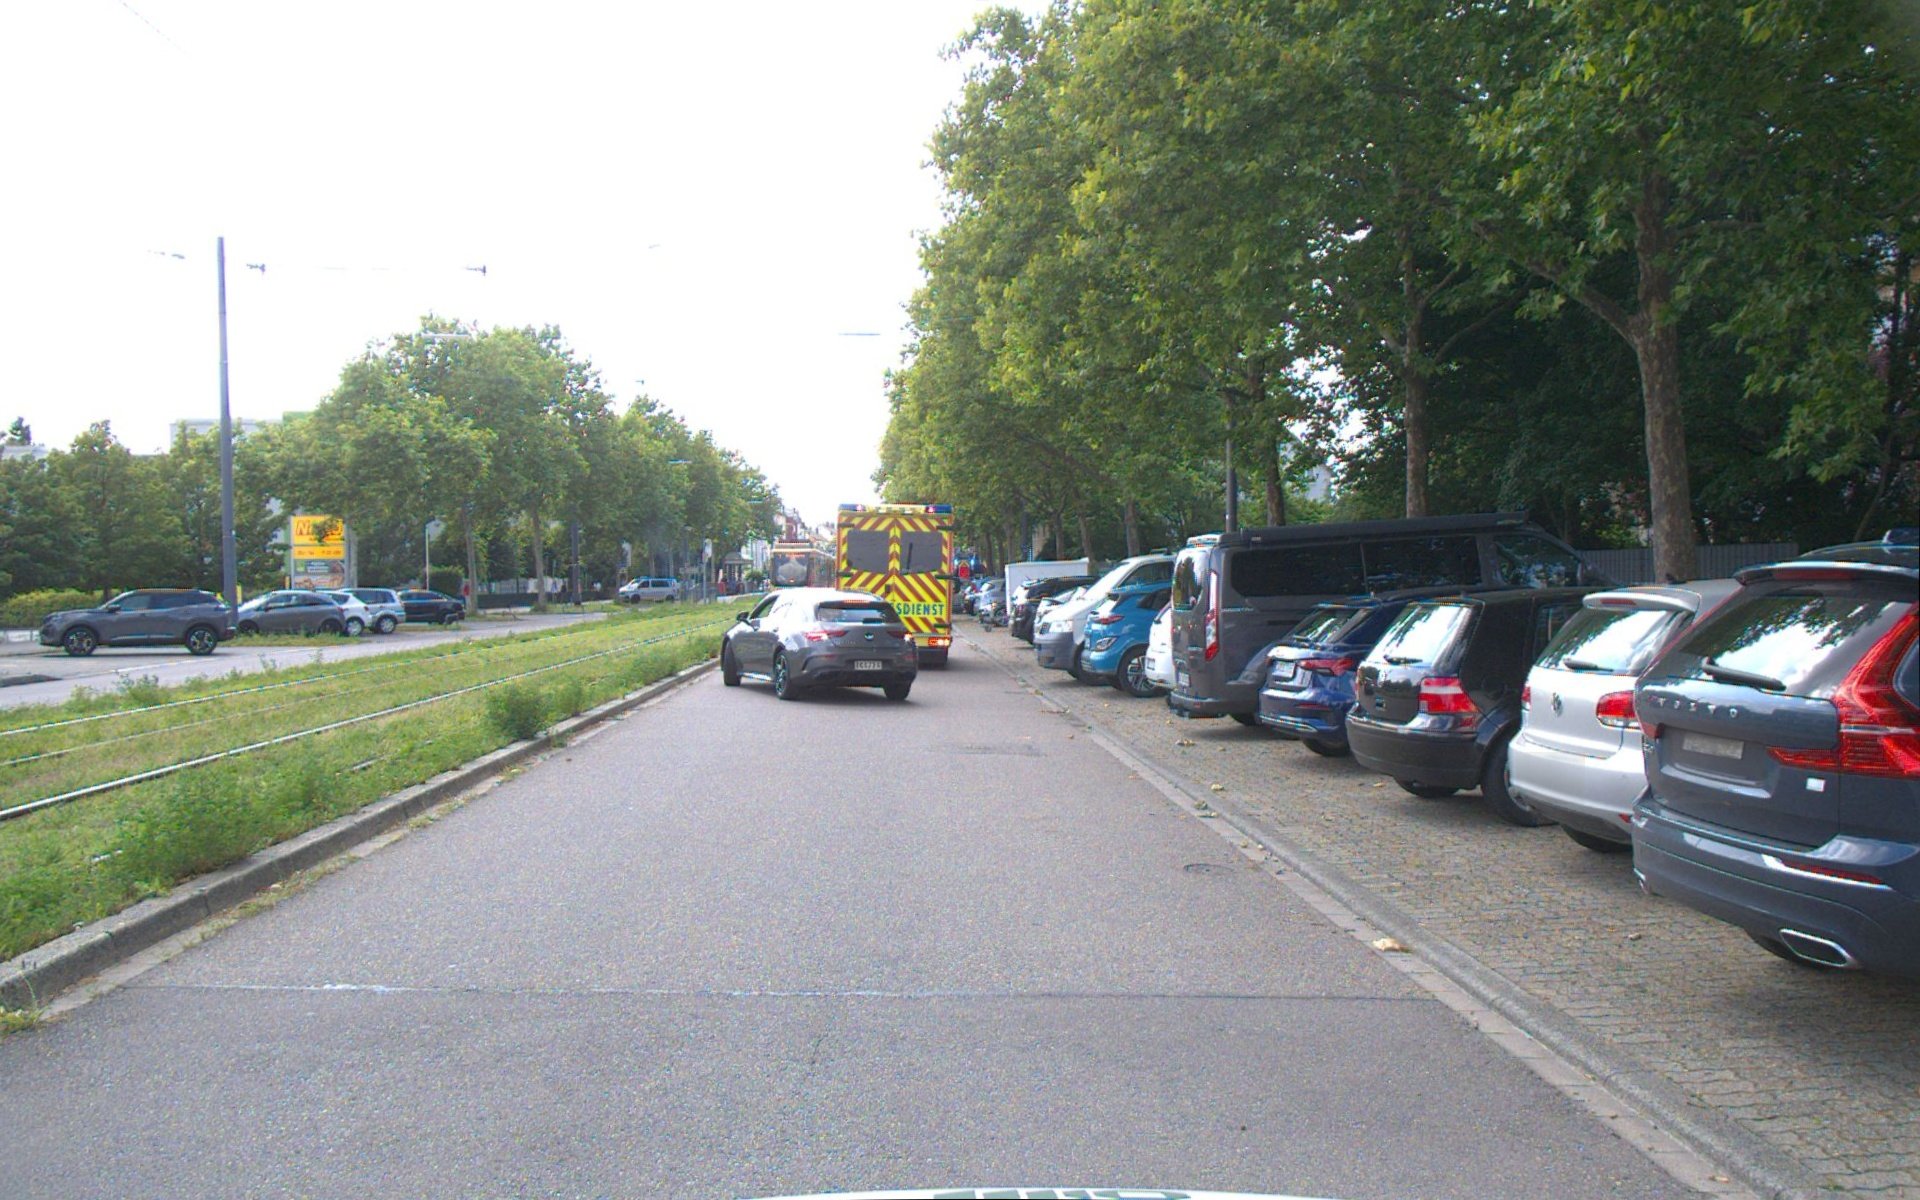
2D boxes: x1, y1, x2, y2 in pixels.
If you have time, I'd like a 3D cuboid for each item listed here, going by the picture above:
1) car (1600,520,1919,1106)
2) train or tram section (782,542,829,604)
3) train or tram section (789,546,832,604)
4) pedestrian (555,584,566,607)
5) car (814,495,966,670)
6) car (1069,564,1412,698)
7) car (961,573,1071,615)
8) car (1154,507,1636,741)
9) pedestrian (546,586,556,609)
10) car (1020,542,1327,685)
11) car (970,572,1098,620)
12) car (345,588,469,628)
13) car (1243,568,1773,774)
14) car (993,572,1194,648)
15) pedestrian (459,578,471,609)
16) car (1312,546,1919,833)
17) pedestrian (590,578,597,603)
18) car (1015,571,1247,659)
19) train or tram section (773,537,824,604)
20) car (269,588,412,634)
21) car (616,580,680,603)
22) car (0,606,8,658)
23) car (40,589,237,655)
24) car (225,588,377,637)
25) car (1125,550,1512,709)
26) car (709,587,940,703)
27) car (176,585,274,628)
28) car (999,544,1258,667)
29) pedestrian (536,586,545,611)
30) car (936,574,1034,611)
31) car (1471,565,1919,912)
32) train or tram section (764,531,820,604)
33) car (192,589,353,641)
[{"bbox_3d":[4.680,0.540,5.637,4.292,1.668,1.756,-2,0,-1],"label":"car"},{"bbox_3d":[-9.648,-1.625,103.551,2.462,3.646,7.441,-2,0,-3],"label":"train or tram section"},{"bbox_3d":[-9.980,-1.599,110.983,2.462,3.646,7.441,-2,0,-3],"label":"train or tram section"},{"bbox_3d":[-27.522,-0.336,113.864,0.620,1.578,0.621,-1,0,-5],"label":"pedestrian"},{"bbox_3d":[-1.281,-0.331,32.520,2.588,3.018,6.298,2,0,-1],"label":"car"},{"bbox_3d":[3.934,0.401,23.591,4.459,1.689,1.853,-2,0,-7],"label":"car"},{"bbox_3d":[2.354,-0.253,70.716,4.458,1.636,1.853,-2,0,-7],"label":"car"},{"bbox_3d":[4.403,0.215,17.178,4.455,2.160,1.855,-2,0,-3],"label":"car"},{"bbox_3d":[-25.742,-0.129,104.145,0.412,1.439,0.467,-1,0,22],"label":"pedestrian"},{"bbox_3d":[3.312,0.187,26.101,4.458,2.035,1.853,-2,0,-7],"label":"car"},{"bbox_3d":[2.694,-0.159,60.875,4.458,1.636,1.853,-2,0,-7],"label":"car"},{"bbox_3d":[-21.447,0.313,64.205,4.199,1.508,1.854,0,0,-42],"label":"car"},{"bbox_3d":[4.532,0.556,14.050,3.887,1.520,1.755,-2,0,-3],"label":"car"},{"bbox_3d":[3.137,0.215,39.324,4.458,1.636,1.853,-2,0,-7],"label":"car"},{"bbox_3d":[-27.218,-0.366,90.905,0.457,1.706,0.603,-1,0,-4],"label":"pedestrian"},{"bbox_3d":[4.571,0.511,11.196,3.897,1.633,1.750,-2,0,-13],"label":"car"},{"bbox_3d":[-27.990,-0.729,126.399,0.457,1.860,0.422,-1,0,-4],"label":"pedestrian"},{"bbox_3d":[3.492,0.289,34.180,4.458,1.636,1.853,-2,0,-7],"label":"car"},{"bbox_3d":[-9.308,-1.651,96.117,2.462,3.646,7.441,-2,0,-3],"label":"train or tram section"},{"bbox_3d":[-20.956,0.355,56.017,4.192,1.508,1.857,0,0,-39],"label":"car"},{"bbox_3d":[-24.240,-0.670,128.650,4.588,1.661,1.855,-2,1,-42],"label":"car"},{"bbox_3d":[-31.172,0.937,49.823,3.905,1.592,1.777,1,0,0],"label":"car"},{"bbox_3d":[-19.807,0.512,39.993,4.172,1.508,1.867,0,0,-28],"label":"car"},{"bbox_3d":[-21.085,0.375,52.995,4.192,1.508,1.857,0,0,-39],"label":"car"},{"bbox_3d":[4.476,0.346,21.081,4.455,1.797,1.855,-2,0,-3],"label":"car"},{"bbox_3d":[-1.995,0.556,22.922,1.739,1.409,4.432,1,0,-25],"label":"car"},{"bbox_3d":[-32.497,0.273,73.084,3.912,1.780,1.997,2,1,29],"label":"car"},{"bbox_3d":[3.079,0.078,30.687,4.458,2.079,1.853,-2,0,-7],"label":"car"},{"bbox_3d":[-25.934,-0.097,102.259,0.413,1.499,0.467,-1,0,-7],"label":"pedestrian"},{"bbox_3d":[1.188,-0.373,78.904,4.458,1.636,1.853,-2,0,-7],"label":"car"},{"bbox_3d":[4.857,0.587,8.482,3.887,1.520,1.755,-2,0,-3],"label":"car"},{"bbox_3d":[-8.961,-1.677,88.697,2.462,3.646,7.441,-2,0,-3],"label":"train or tram section"},{"bbox_3d":[-20.807,0.437,50.092,4.192,1.508,1.857,0,0,-39],"label":"car"}]
